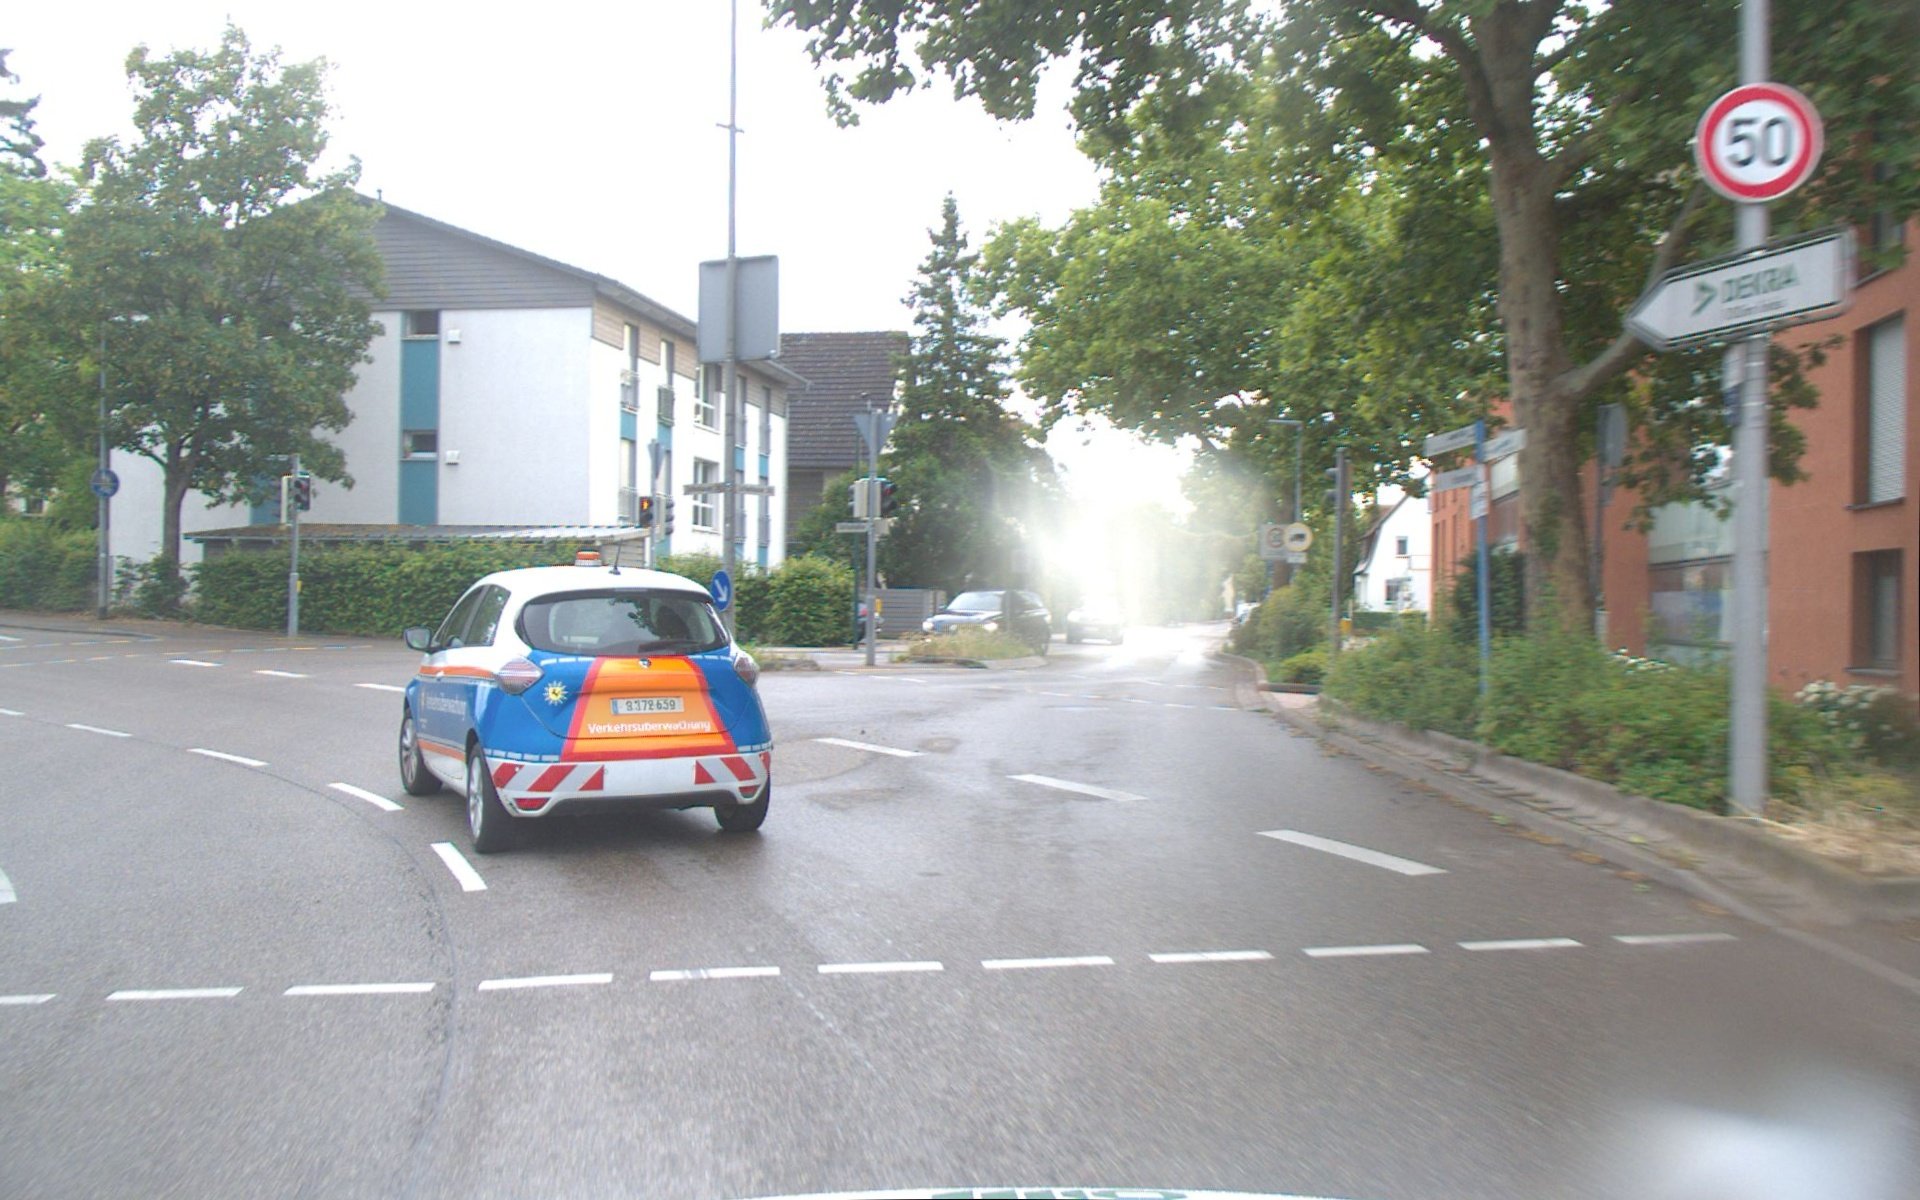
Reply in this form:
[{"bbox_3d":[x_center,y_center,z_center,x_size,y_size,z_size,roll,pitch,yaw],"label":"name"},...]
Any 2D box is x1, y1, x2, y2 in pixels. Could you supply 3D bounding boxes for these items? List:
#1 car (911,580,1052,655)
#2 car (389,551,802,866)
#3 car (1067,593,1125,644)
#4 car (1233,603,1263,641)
[{"bbox_3d":[0.553,0.399,36.599,1.901,1.477,4.301,2,0,18],"label":"car"},{"bbox_3d":[-2.516,0.535,10.633,1.724,1.608,3.966,-1,1,-26],"label":"car"},{"bbox_3d":[4.843,0.631,58.672,1.837,1.698,3.717,1,0,7],"label":"car"},{"bbox_3d":[16.460,1.216,94.556,1.608,2.052,3.718,1,1,10],"label":"car"}]
